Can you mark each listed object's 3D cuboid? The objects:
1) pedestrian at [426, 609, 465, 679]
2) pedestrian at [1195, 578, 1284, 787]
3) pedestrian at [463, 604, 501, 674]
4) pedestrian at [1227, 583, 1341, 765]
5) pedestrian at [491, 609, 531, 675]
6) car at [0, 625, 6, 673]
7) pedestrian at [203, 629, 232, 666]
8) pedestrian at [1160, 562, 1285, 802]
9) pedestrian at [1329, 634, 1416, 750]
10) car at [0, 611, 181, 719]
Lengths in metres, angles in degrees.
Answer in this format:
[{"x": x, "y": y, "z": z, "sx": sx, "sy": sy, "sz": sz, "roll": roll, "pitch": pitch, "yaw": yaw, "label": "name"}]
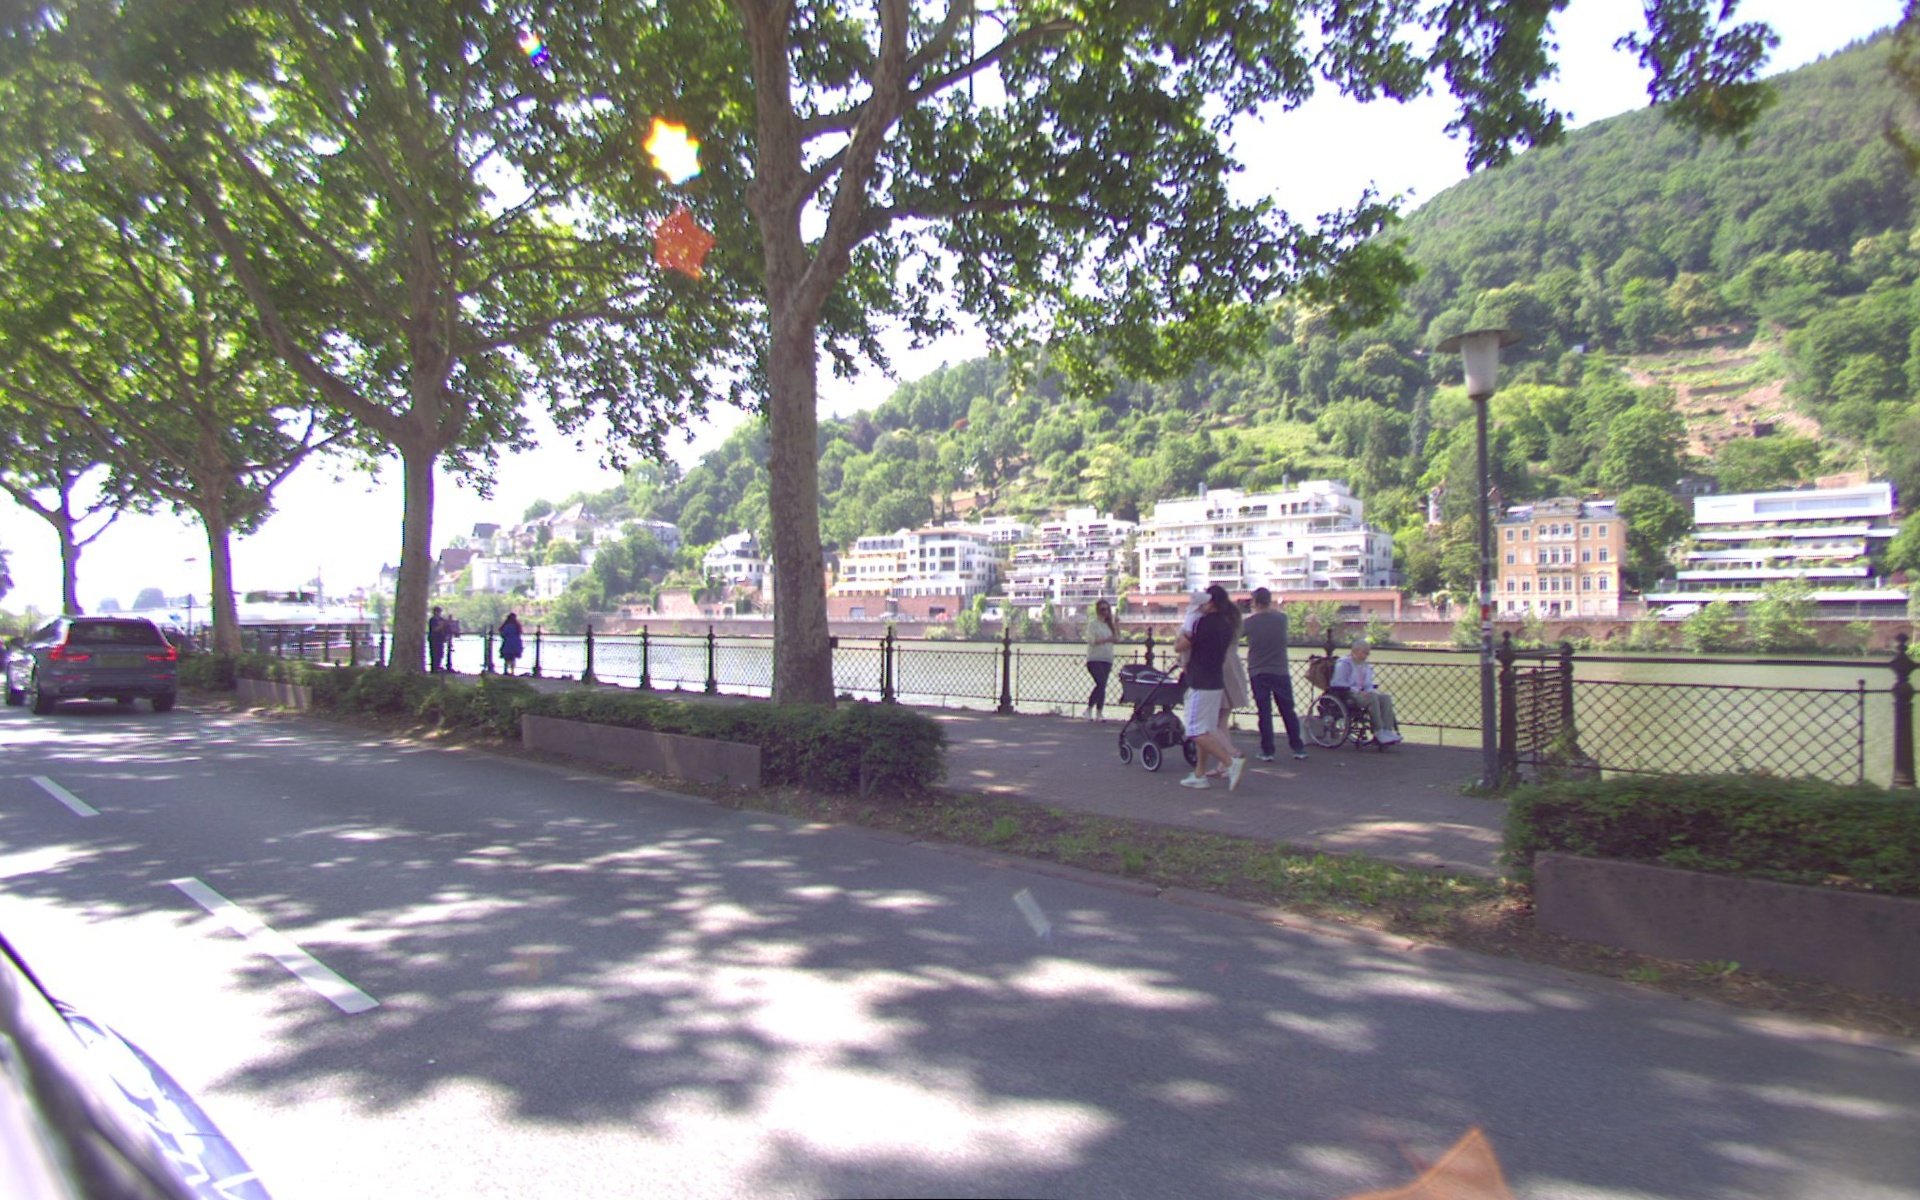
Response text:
[{"x": -13.100, "y": 1.111, "z": 25.755, "sx": 0.705, "sy": 1.744, "sz": 0.696, "roll": -1, "pitch": -1, "yaw": 43, "label": "pedestrian"}, {"x": 2.494, "y": 0.714, "z": 9.033, "sx": 0.592, "sy": 1.782, "sz": 0.511, "roll": -2, "pitch": -3, "yaw": 42, "label": "pedestrian"}, {"x": -12.573, "y": 1.021, "z": 26.616, "sx": 0.705, "sy": 1.810, "sz": 0.696, "roll": -1, "pitch": -1, "yaw": 43, "label": "pedestrian"}, {"x": 3.263, "y": 0.706, "z": 10.194, "sx": 0.873, "sy": 1.730, "sz": 0.686, "roll": -1, "pitch": 1, "yaw": 40, "label": "pedestrian"}, {"x": -11.309, "y": 1.043, "z": 25.483, "sx": 0.705, "sy": 1.615, "sz": 0.696, "roll": -1, "pitch": -1, "yaw": 43, "label": "pedestrian"}, {"x": -31.486, "y": 1.525, "z": 31.945, "sx": 3.777, "sy": 1.480, "sz": 1.632, "roll": -1, "pitch": -3, "yaw": 41, "label": "car"}, {"x": -26.932, "y": 1.712, "z": 36.717, "sx": 0.656, "sy": 1.318, "sz": 0.695, "roll": -2, "pitch": -3, "yaw": 42, "label": "pedestrian"}, {"x": 2.193, "y": 0.657, "z": 8.467, "sx": 0.805, "sy": 1.884, "sz": 0.634, "roll": -2, "pitch": -3, "yaw": 42, "label": "pedestrian"}, {"x": 4.418, "y": 0.964, "z": 10.850, "sx": 0.695, "sy": 1.186, "sz": 0.603, "roll": -2, "pitch": -3, "yaw": 42, "label": "pedestrian"}, {"x": -15.610, "y": 1.085, "z": 18.065, "sx": 4.256, "sy": 1.711, "sz": 1.857, "roll": -1, "pitch": -3, "yaw": 41, "label": "car"}]
